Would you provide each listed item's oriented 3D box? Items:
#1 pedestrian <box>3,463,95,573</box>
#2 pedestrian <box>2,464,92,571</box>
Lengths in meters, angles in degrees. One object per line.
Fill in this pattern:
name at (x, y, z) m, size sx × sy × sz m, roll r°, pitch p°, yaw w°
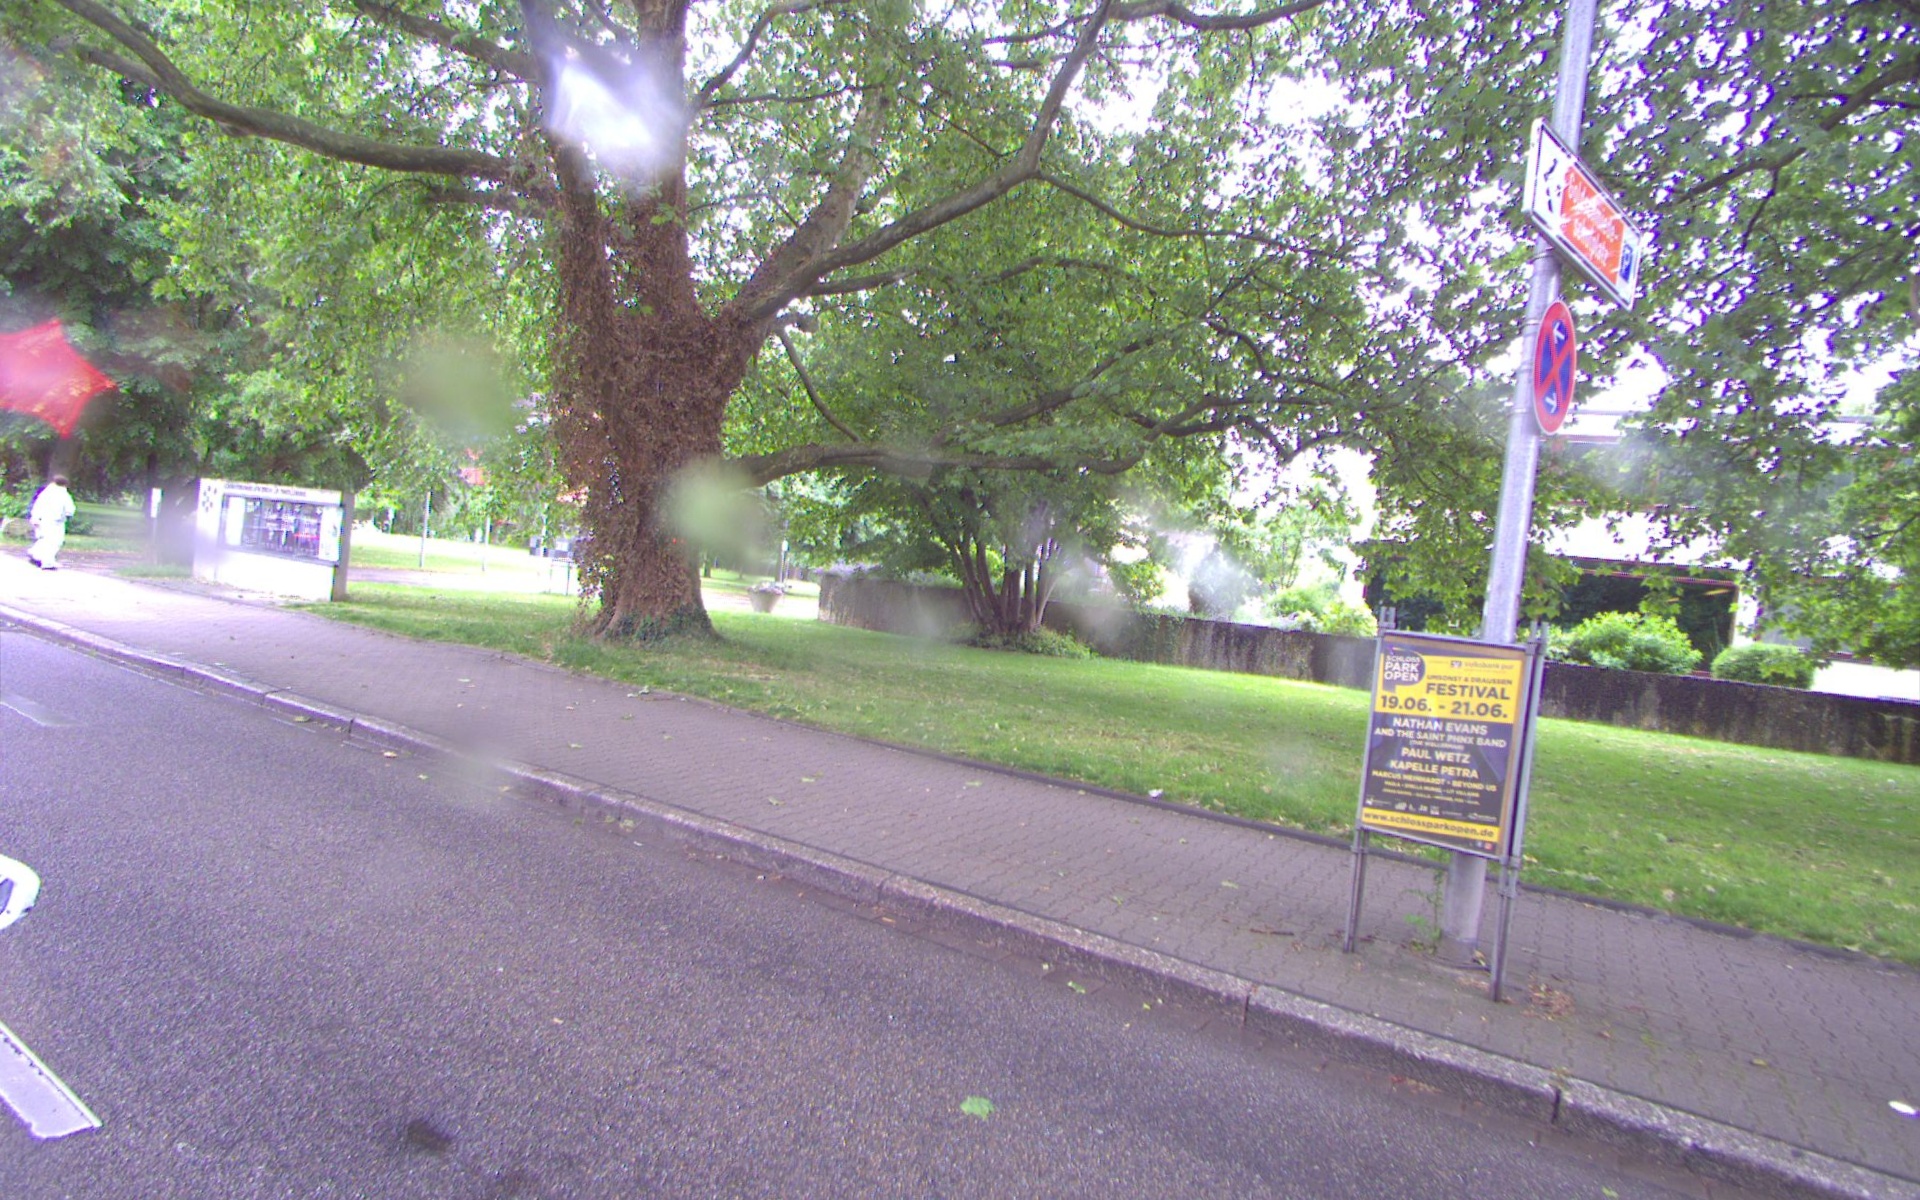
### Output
pedestrian at (-16.835, -1.492, 18.603) m, size 0.646 × 1.902 × 1.037 m, roll 7°, pitch 3°, yaw 21°
pedestrian at (-17.366, -1.542, 19.148) m, size 0.646 × 1.902 × 1.037 m, roll 7°, pitch 3°, yaw 21°
